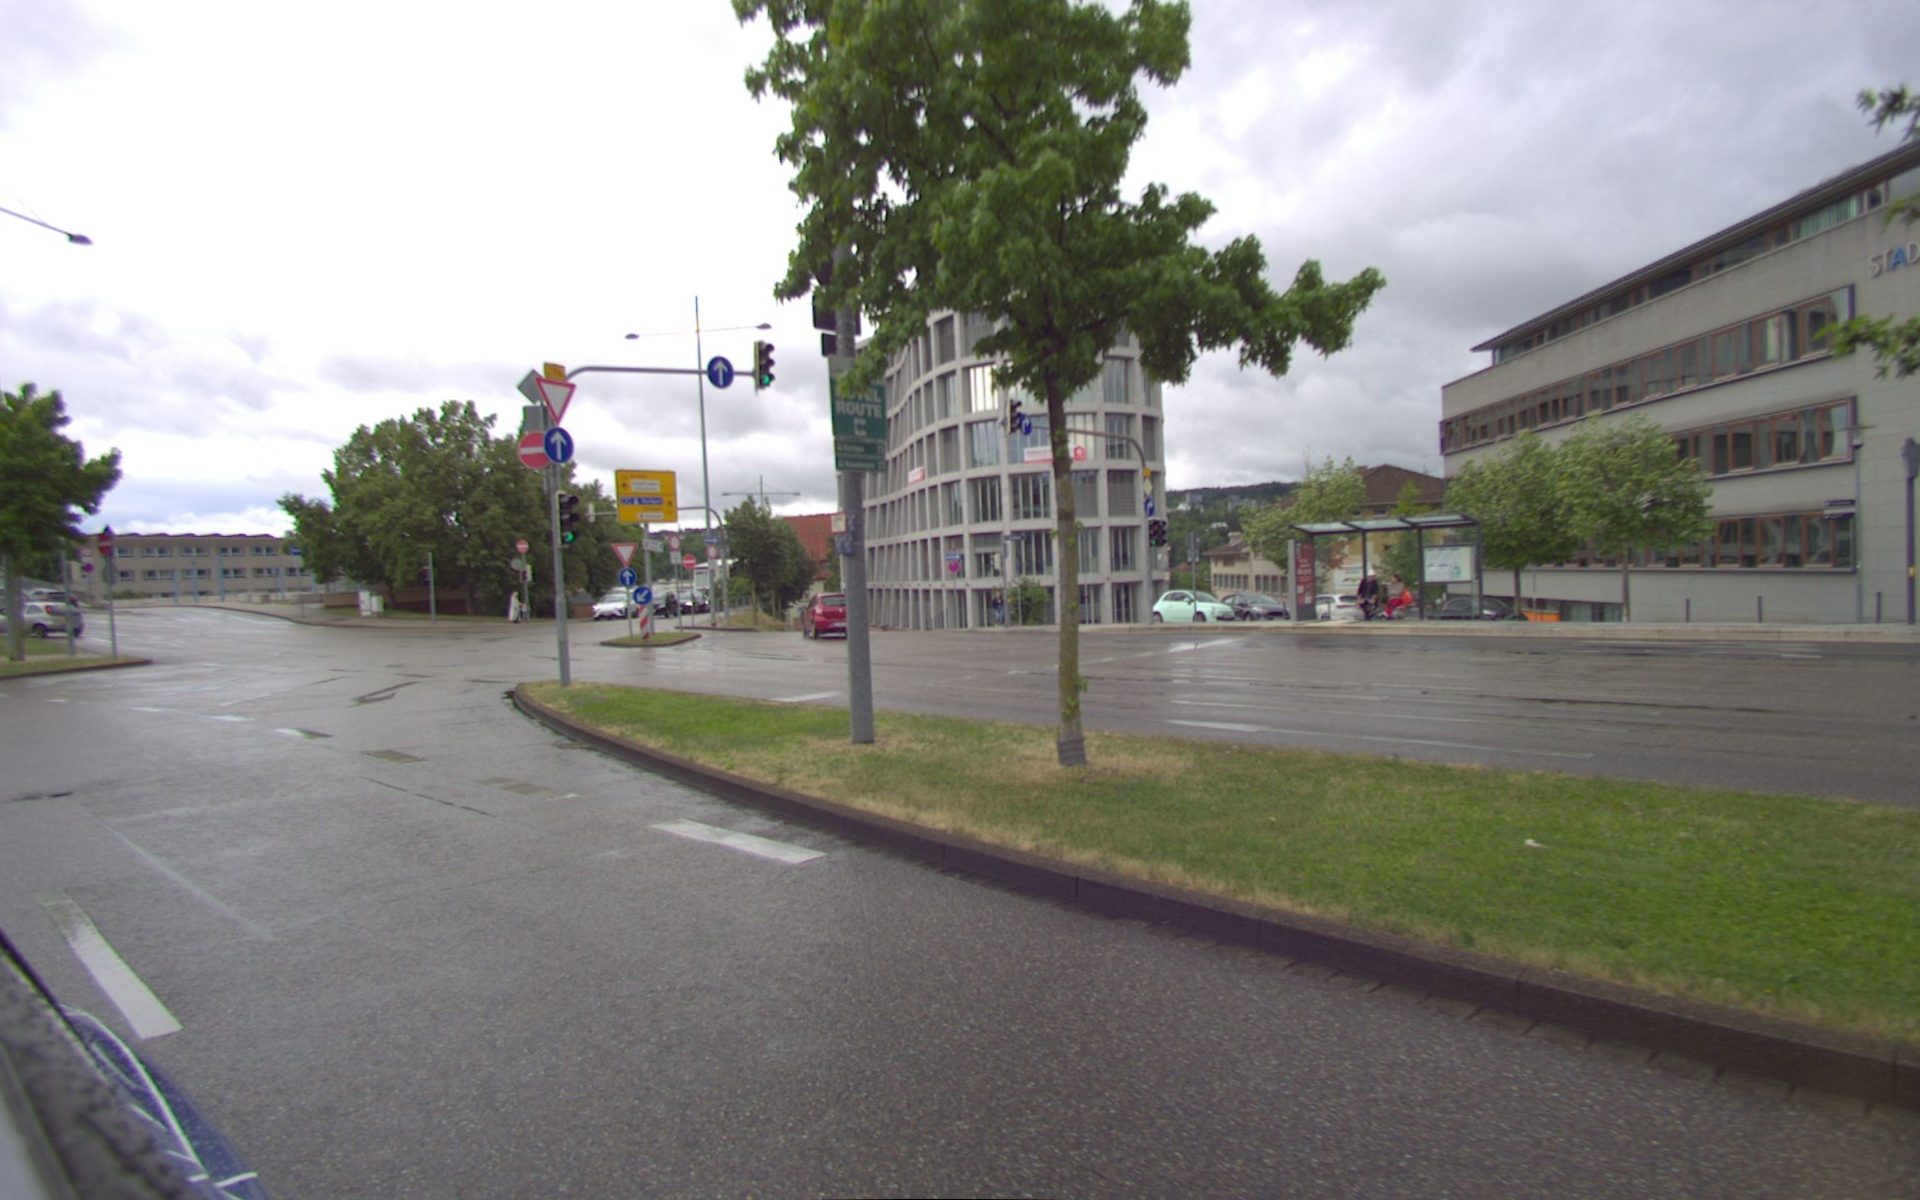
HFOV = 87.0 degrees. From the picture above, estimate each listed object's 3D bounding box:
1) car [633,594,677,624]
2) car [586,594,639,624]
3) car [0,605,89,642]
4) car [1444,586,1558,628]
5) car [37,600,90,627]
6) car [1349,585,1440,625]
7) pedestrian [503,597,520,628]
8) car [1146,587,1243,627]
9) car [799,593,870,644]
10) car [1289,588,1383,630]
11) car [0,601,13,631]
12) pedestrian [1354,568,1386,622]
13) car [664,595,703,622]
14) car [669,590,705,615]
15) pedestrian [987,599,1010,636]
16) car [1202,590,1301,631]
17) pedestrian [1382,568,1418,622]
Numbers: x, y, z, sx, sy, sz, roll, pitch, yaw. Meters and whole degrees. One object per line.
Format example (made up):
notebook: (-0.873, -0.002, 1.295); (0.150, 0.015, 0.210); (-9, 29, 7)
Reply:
car: (-17.213, 0.497, 57.315); (1.701, 1.579, 3.844); (-2, 1, -6)
car: (-20.112, 0.475, 58.730); (1.859, 1.579, 4.146); (-2, 1, -5)
car: (-38.558, 0.953, 41.924); (3.830, 1.459, 1.633); (0, 0, 8)
car: (21.007, 0.266, 39.446); (1.605, 1.507, 3.593); (-2, 0, -30)
car: (-53.785, 0.807, 60.693); (4.919, 1.515, 1.827); (-1, 1, 43)
car: (17.389, 0.182, 40.643); (1.606, 1.507, 3.590); (-2, 0, -10)
pedestrian: (-23.310, 0.625, 52.592); (0.631, 1.582, 0.644); (2, 1, 45)
car: (9.248, 0.267, 40.127); (1.605, 1.507, 3.592); (-2, 0, -33)
car: (-4.289, 0.570, 34.138); (1.798, 1.563, 4.044); (-1, 0, -15)
car: (14.758, 0.327, 39.900); (1.737, 1.507, 3.796); (-2, 0, -10)
car: (-56.064, 0.933, 57.981); (4.410, 1.665, 1.831); (-1, 1, 36)
pedestrian: (11.273, -0.138, 27.843); (0.625, 1.480, 0.671); (-1, 1, 39)
car: (-17.279, 0.491, 63.374); (1.701, 1.579, 3.844); (-2, 1, -6)
car: (-18.460, 0.173, 68.576); (1.701, 1.579, 3.844); (-2, 1, -6)
pedestrian: (1.718, 0.762, 44.996); (0.704, 1.595, 0.664); (0, 2, 39)
car: (11.489, 0.413, 40.083); (1.605, 1.507, 3.592); (-2, 0, -33)
pedestrian: (11.844, -0.138, 27.248); (0.720, 1.402, 0.671); (-1, 1, 39)
